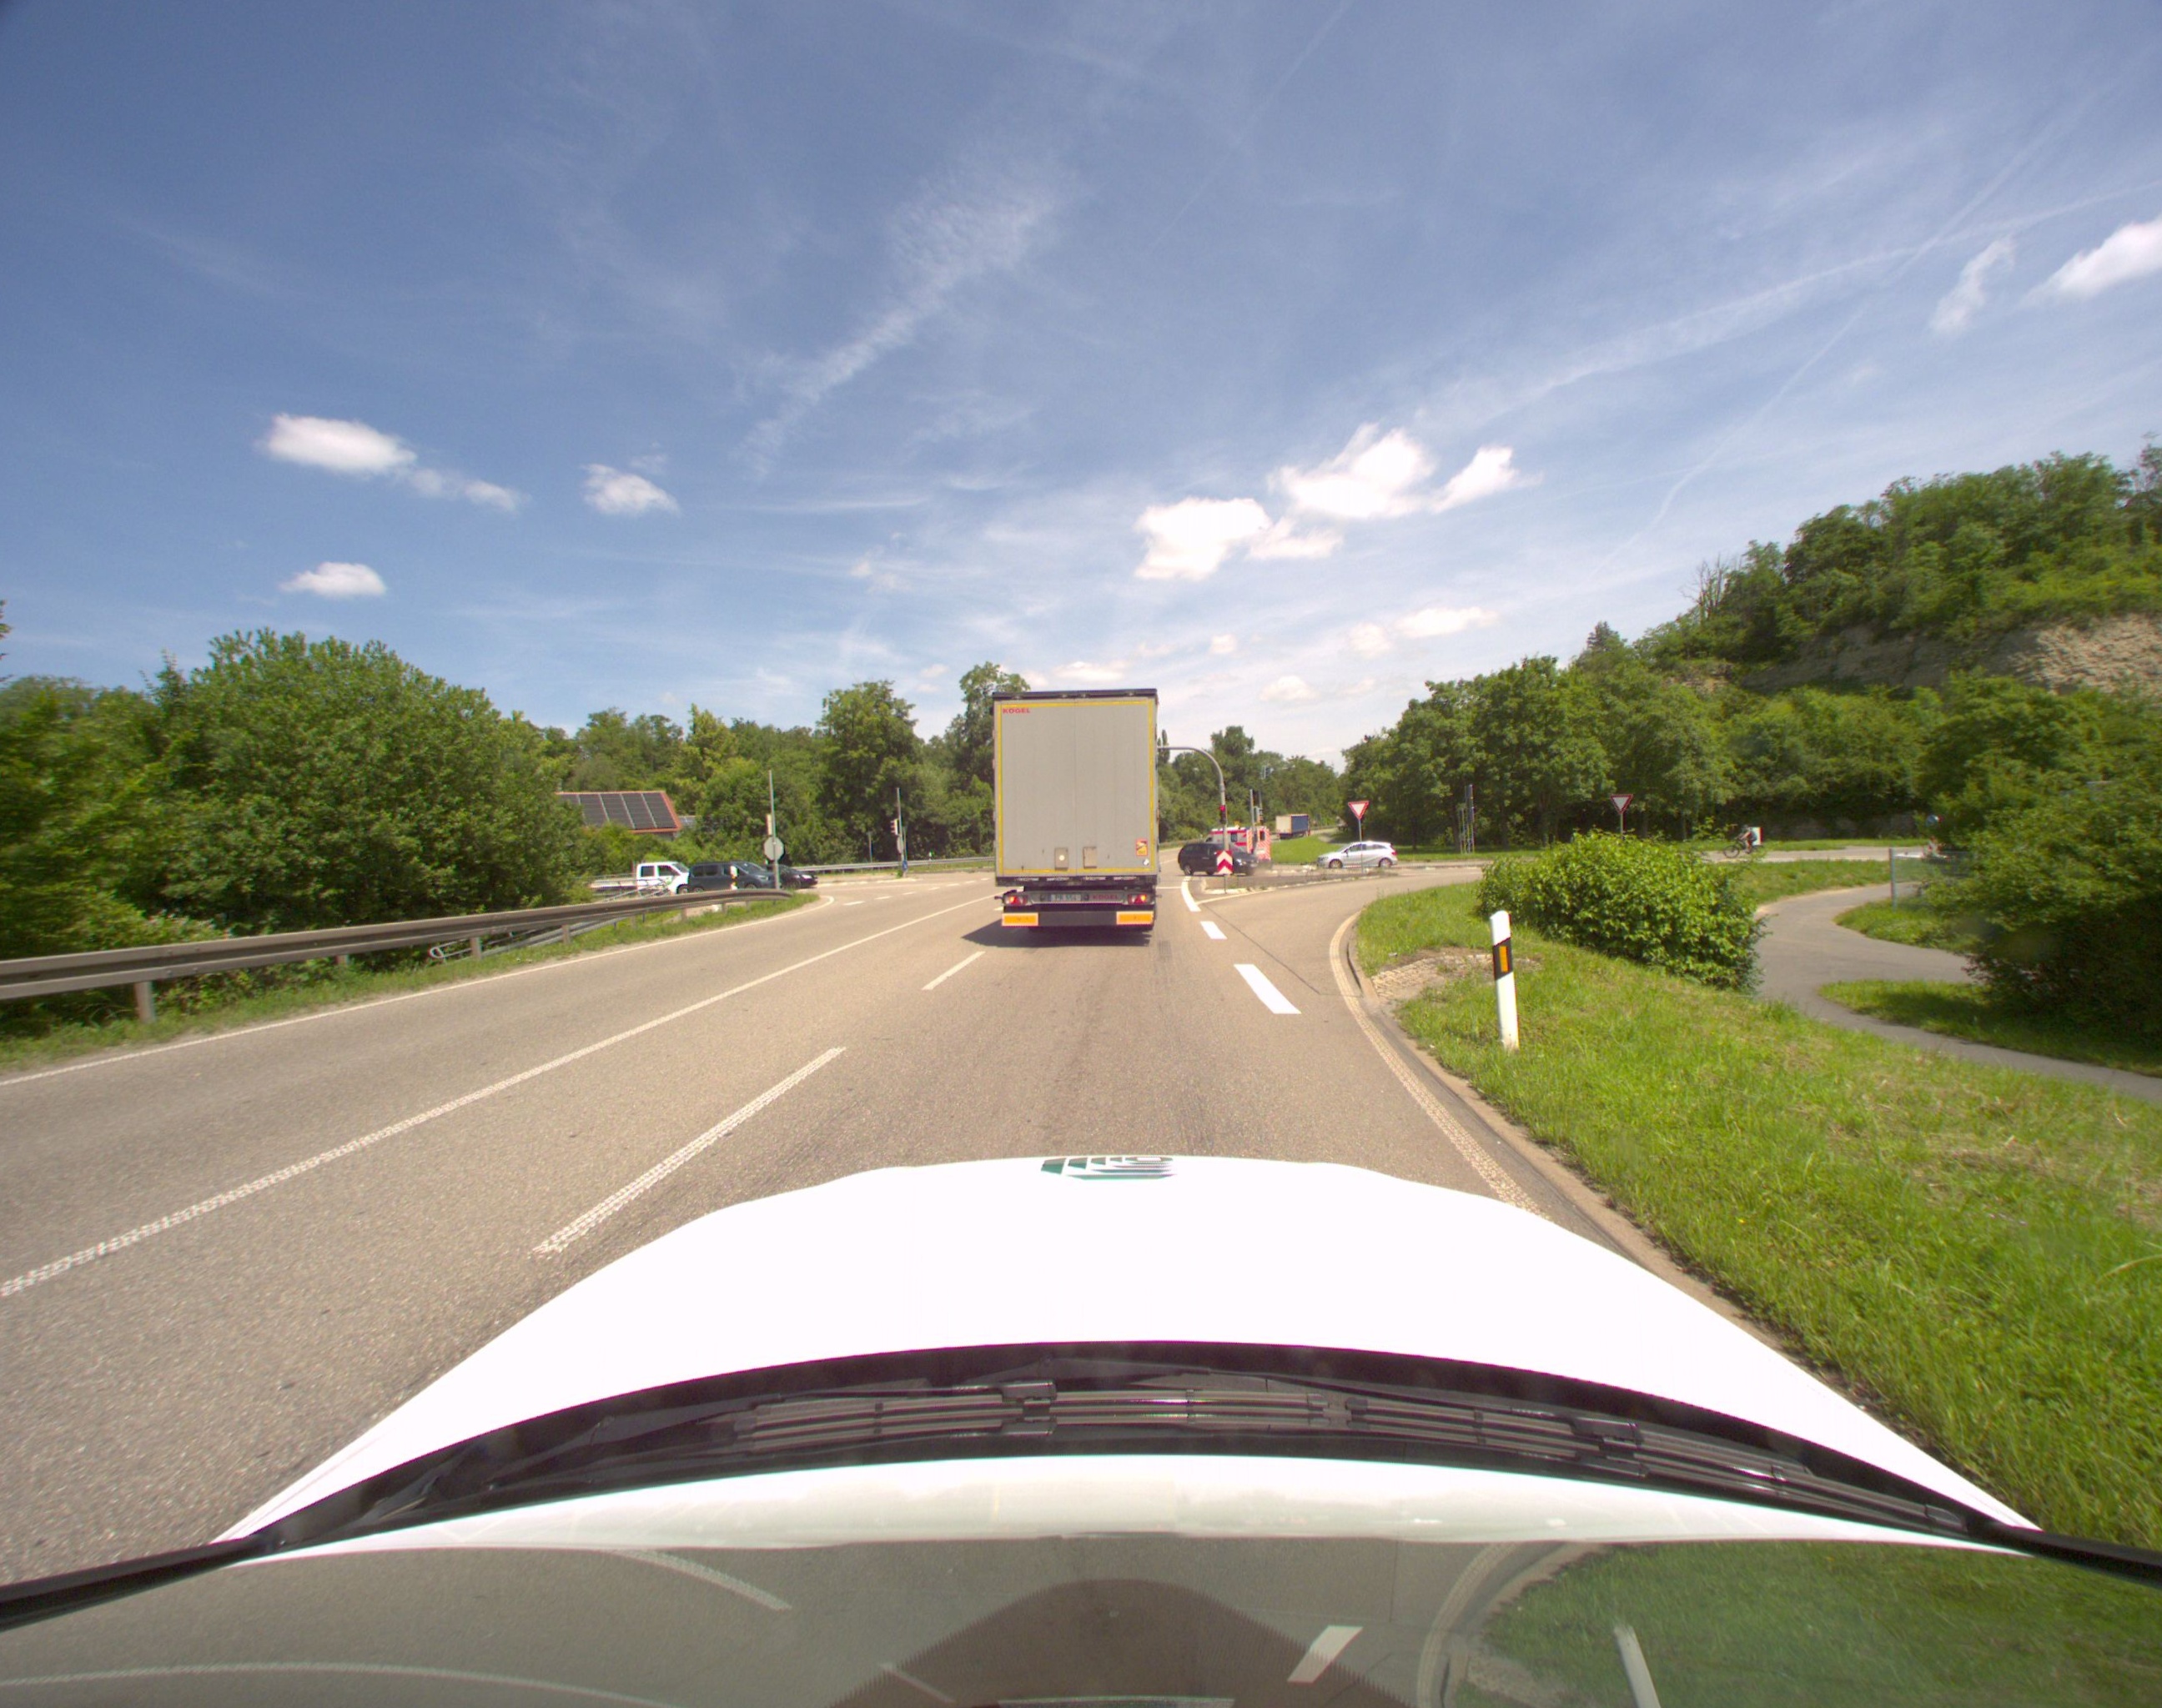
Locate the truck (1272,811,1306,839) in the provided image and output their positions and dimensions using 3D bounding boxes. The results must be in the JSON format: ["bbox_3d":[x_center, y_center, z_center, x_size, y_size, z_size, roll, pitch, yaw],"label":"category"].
[{"bbox_3d":[35.421,-4.833,138.309,3.150,4.029,11.812,-1,-1,26],"label":"truck"}]

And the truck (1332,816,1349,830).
[{"bbox_3d":[56.870,-6.788,178.257,2.830,2.948,7.145,-1,0,24],"label":"truck"}]

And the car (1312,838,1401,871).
[{"bbox_3d":[15.405,0.047,45.701,4.404,1.718,2.004,-1,-2,7],"label":"car"}]

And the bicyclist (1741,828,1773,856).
[{"bbox_3d":[35.567,-0.637,42.833,1.002,1.448,0.795,0,-2,0],"label":"bicyclist"}]

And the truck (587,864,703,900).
[{"bbox_3d":[-22.539,1.422,42.293,4.876,1.791,2.036,0,-2,-10],"label":"truck"}]

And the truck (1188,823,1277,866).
[{"bbox_3d":[10.460,-0.577,56.786,2.513,2.728,5.963,1,-2,-36],"label":"truck"}]

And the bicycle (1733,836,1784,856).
[{"bbox_3d":[35.626,-0.410,42.826,1.982,0.995,0.797,0,-2,-1],"label":"bicycle"}]

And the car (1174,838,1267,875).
[{"bbox_3d":[7.072,0.177,41.828,2.007,1.785,4.892,1,-2,-32],"label":"car"}]

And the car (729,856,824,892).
[{"bbox_3d":[-16.078,1.051,43.115,4.205,1.770,2.007,-2,-1,12],"label":"car"}]

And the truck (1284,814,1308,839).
[{"bbox_3d":[37.882,-4.764,143.400,3.140,4.004,5.848,-1,-1,25],"label":"truck"}]

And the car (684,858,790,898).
[{"bbox_3d":[-16.423,1.122,38.989,4.205,1.770,2.007,-2,-1,12],"label":"car"}]

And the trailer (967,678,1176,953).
[{"bbox_3d":[0.339,-0.591,18.435,3.038,4.033,12.574,-1,0,4],"label":"trailer"}]

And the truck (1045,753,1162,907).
[{"bbox_3d":[0.853,-0.644,24.980,3.024,4.033,6.637,-1,0,4],"label":"truck"}]
